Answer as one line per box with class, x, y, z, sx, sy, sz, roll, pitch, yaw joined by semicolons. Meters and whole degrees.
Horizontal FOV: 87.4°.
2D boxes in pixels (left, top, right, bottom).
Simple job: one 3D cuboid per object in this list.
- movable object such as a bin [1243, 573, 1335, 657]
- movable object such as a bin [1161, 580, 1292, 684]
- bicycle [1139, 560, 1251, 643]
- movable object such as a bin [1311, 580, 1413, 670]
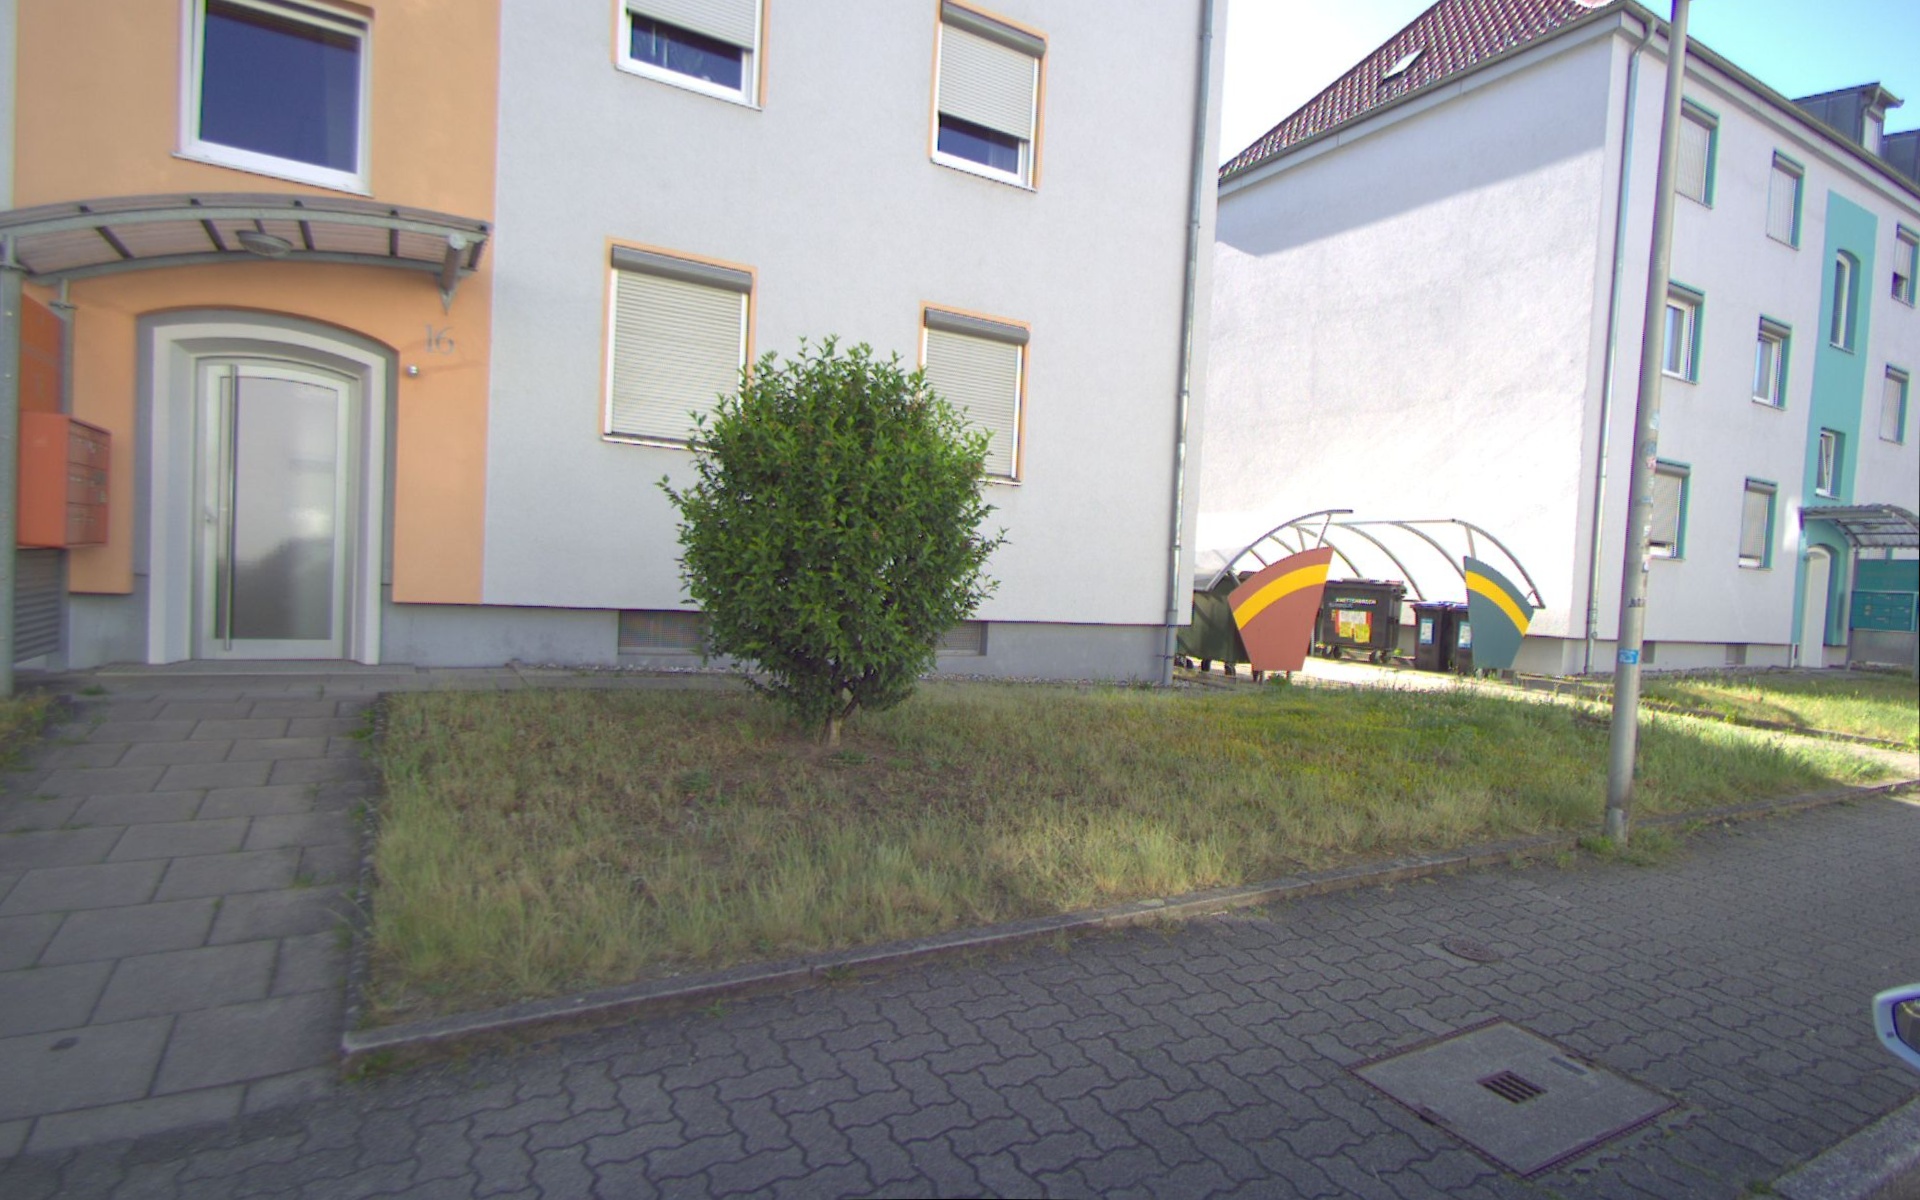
movable object such as a bin;5.776;0.252;17.655;0.796;1.366;1.244;1;3;-40
movable object such as a bin;3.348;0.382;12.705;0.899;1.184;1.307;2;2;-30
bicycle;4.657;0.050;19.829;2.172;1.530;0.699;2;3;-30
movable object such as a bin;6.644;0.399;16.642;0.899;1.374;1.239;2;2;-41
